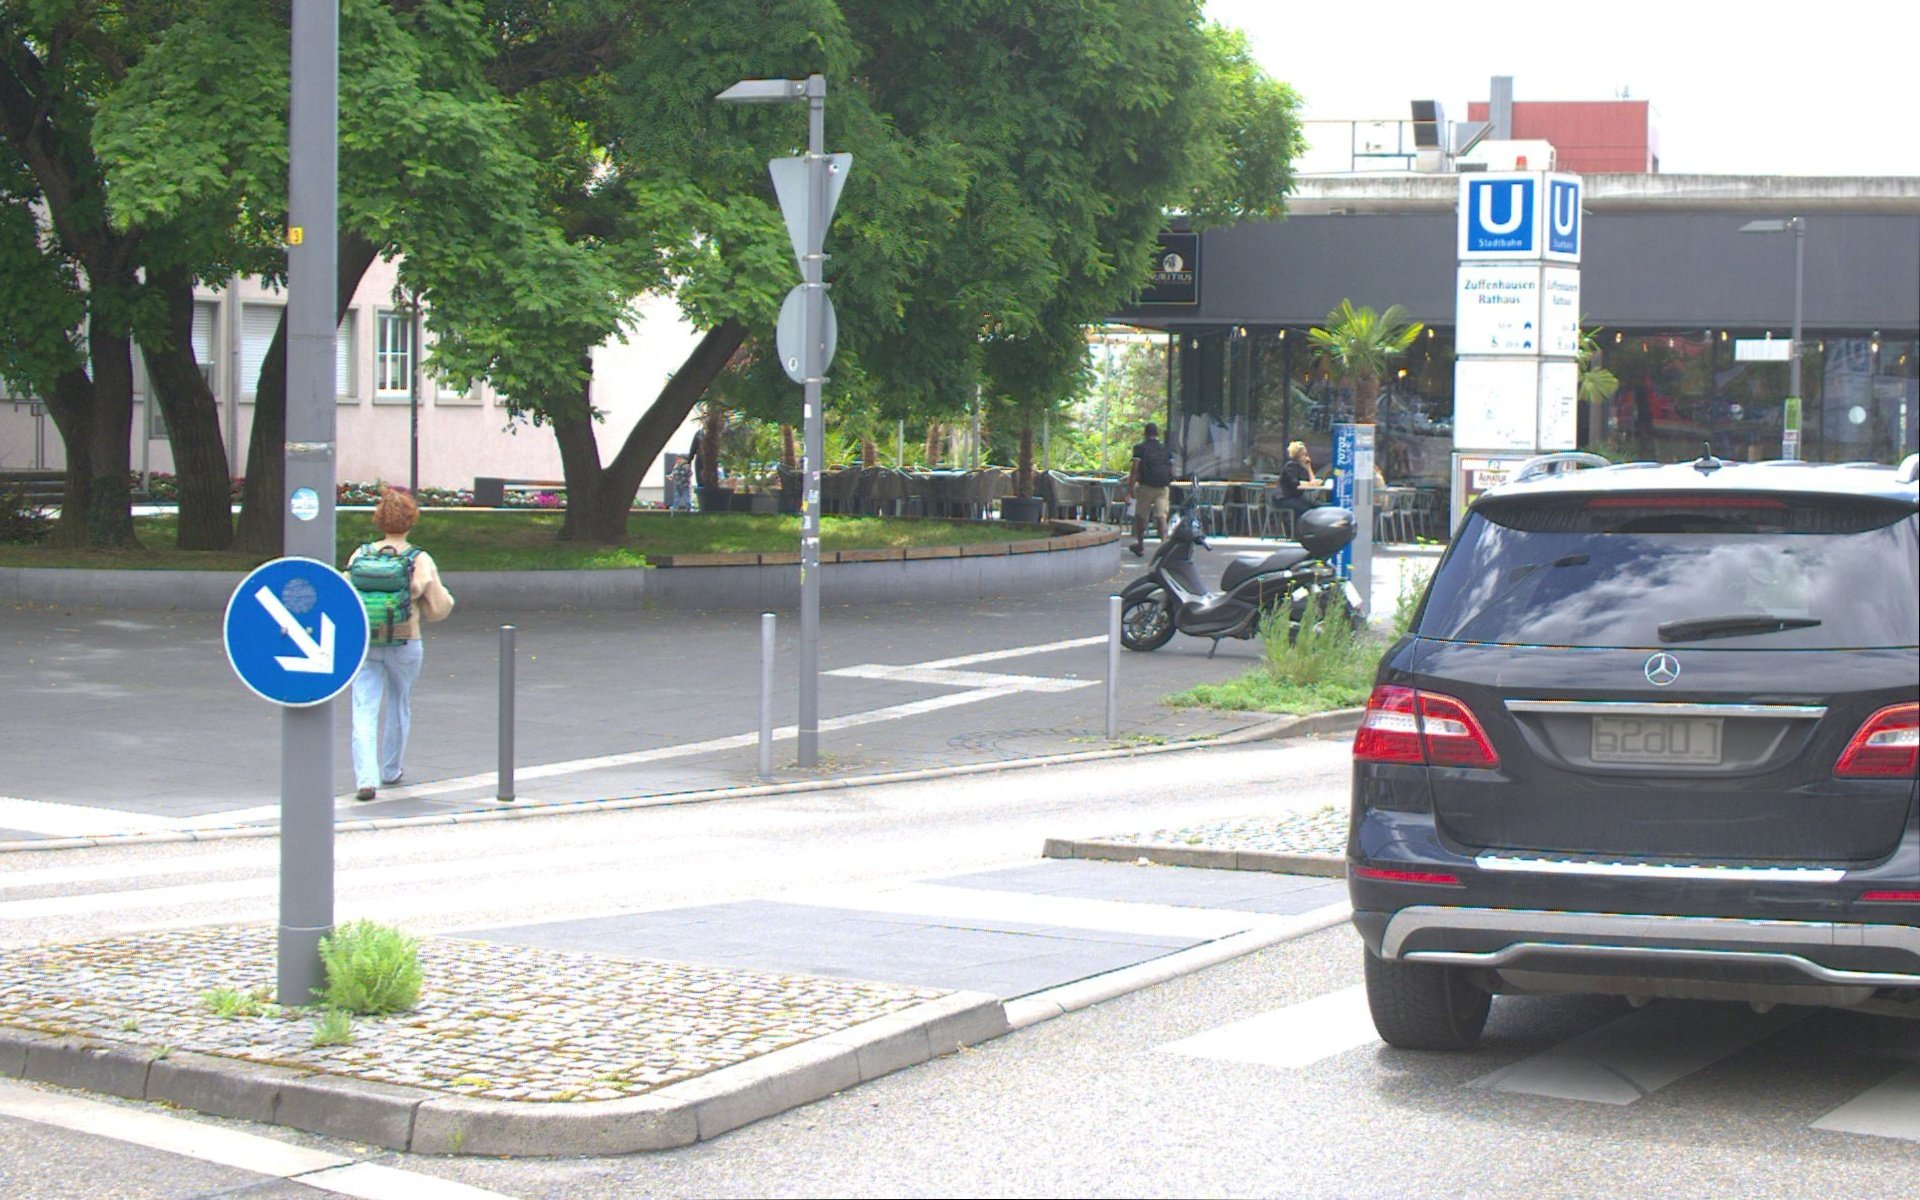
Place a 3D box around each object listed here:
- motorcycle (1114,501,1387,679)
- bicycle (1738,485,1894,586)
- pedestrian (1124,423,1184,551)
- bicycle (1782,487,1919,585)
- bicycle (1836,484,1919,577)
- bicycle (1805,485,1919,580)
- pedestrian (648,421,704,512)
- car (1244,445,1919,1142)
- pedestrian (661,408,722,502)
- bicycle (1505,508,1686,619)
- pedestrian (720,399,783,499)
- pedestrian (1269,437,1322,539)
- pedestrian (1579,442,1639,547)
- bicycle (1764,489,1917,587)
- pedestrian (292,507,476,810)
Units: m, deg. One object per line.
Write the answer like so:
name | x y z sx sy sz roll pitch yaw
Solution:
motorcycle | 2.338 -0.100 27.827 2.136 1.284 0.582 4 5 32
bicycle | 9.604 -0.729 38.575 1.571 1.087 0.577 2 2 30
pedestrian | 2.416 -1.408 42.800 0.614 1.571 0.582 1 2 14
bicycle | 10.412 -0.752 39.903 1.571 1.087 0.577 2 2 30
bicycle | 11.444 -0.832 41.472 1.571 1.087 0.577 2 2 30
bicycle | 10.884 -0.799 40.723 1.571 1.087 0.577 2 2 30
pedestrian | -4.998 -2.346 60.470 0.636 1.571 0.787 2 2 30
car | 2.531 0.423 10.811 2.030 1.721 4.428 1 2 22
pedestrian | -4.557 -2.465 58.397 0.787 1.571 0.636 2 2 29
bicycle | 6.035 -0.355 32.682 1.615 0.994 0.499 3 2 36
pedestrian | -3.430 -2.479 56.529 0.787 1.622 0.636 2 2 29
pedestrian | 4.579 -1.529 46.879 0.581 1.375 0.615 1 2 18
pedestrian | 9.114 -1.480 48.267 0.582 1.458 0.614 2 2 38
bicycle | 10.036 -0.712 39.213 1.571 1.065 0.538 2 2 30
pedestrian | -3.027 0.288 18.078 0.551 1.509 0.786 4 5 33
